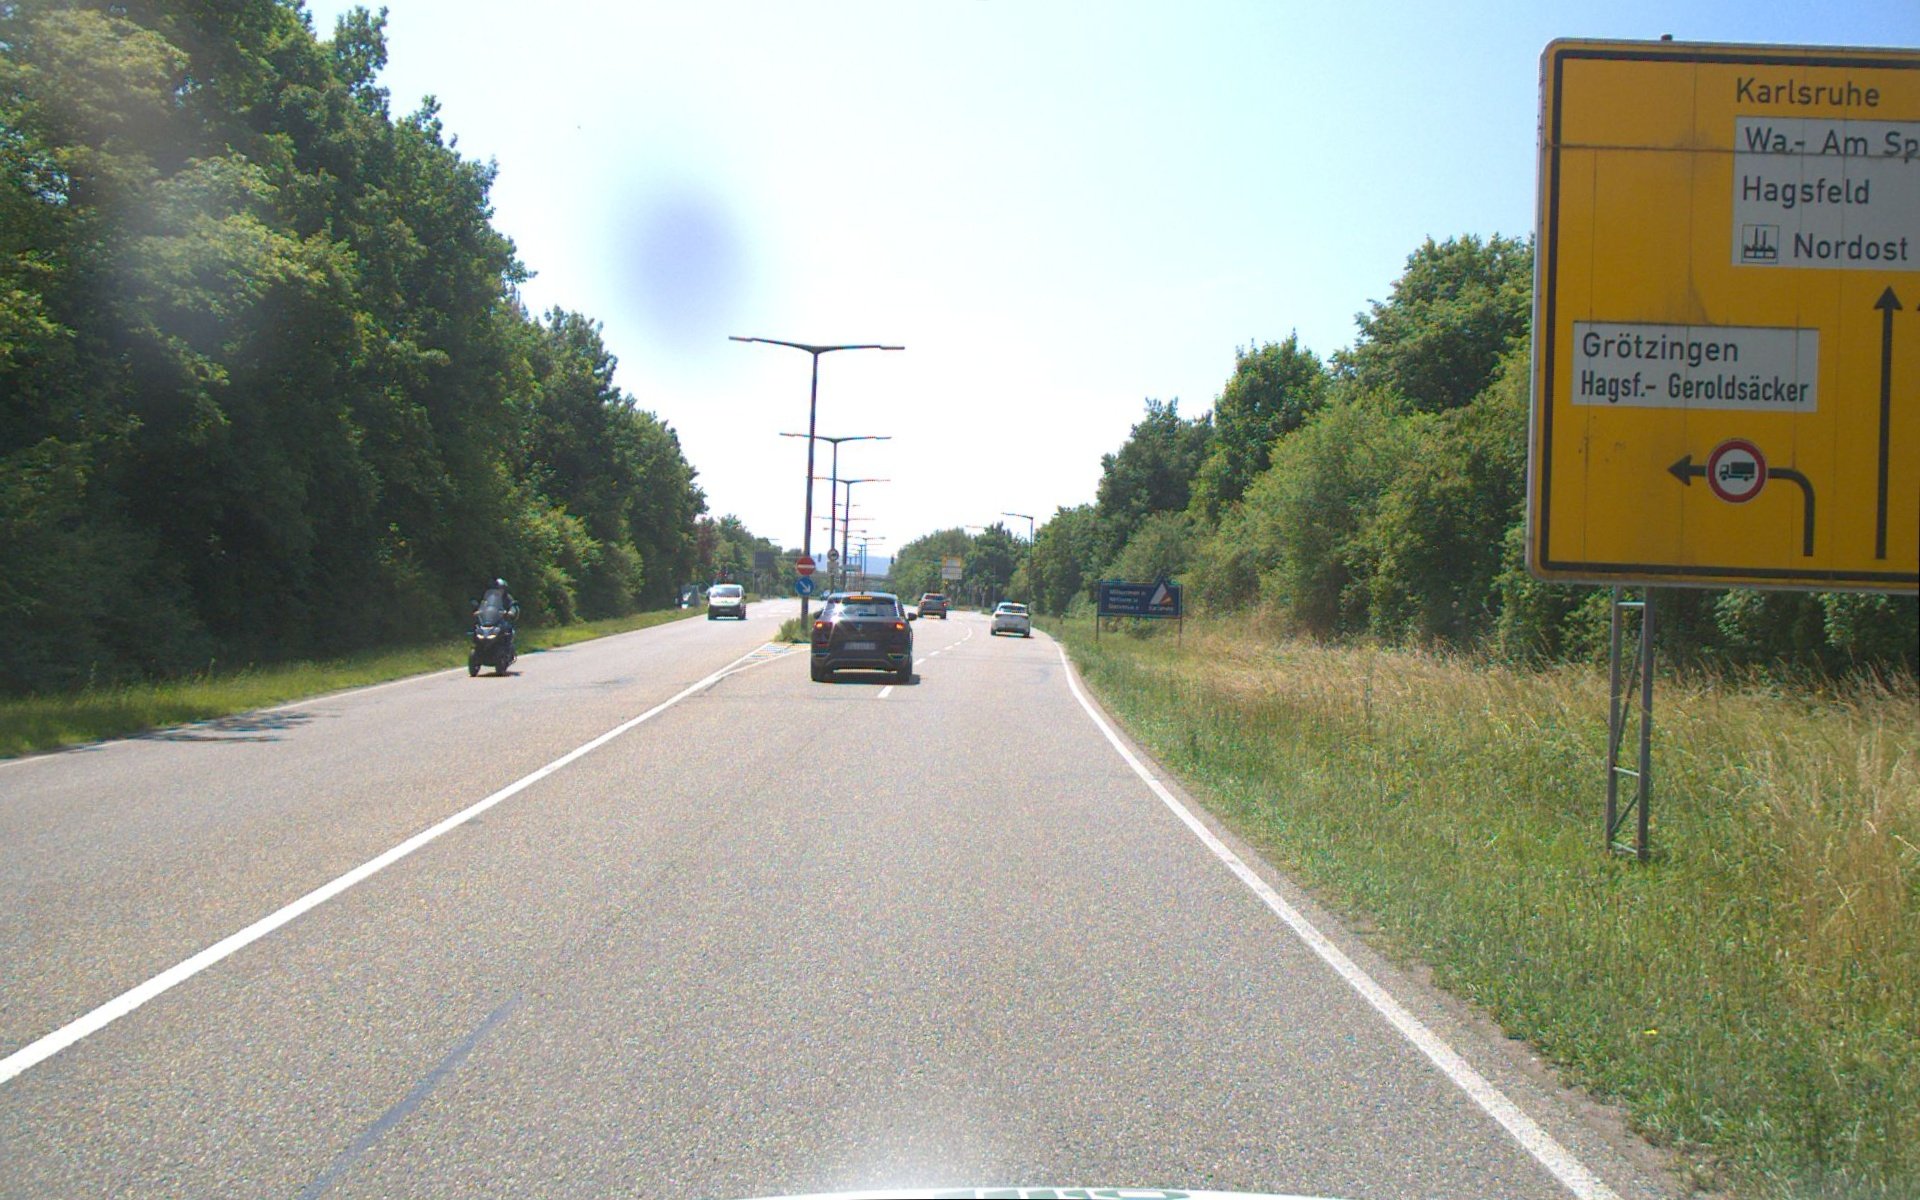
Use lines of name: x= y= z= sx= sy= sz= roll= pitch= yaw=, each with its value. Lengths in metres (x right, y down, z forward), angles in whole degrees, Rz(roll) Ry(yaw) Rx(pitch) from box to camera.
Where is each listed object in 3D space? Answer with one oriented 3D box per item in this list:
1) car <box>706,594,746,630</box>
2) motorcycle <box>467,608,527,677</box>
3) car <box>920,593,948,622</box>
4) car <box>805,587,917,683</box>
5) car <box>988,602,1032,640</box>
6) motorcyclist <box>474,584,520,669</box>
car: x=-11.632 y=0.581 z=82.381 sx=1.698 sy=1.717 sz=4.091 roll=0 pitch=0 yaw=-4
motorcycle: x=-8.380 y=0.752 z=30.016 sx=0.657 sy=1.195 sz=2.228 roll=1 pitch=0 yaw=-6
car: x=-1.852 y=0.526 z=116.170 sx=1.721 sy=1.962 sz=3.997 roll=3 pitch=0 yaw=-4
car: x=-1.868 y=0.597 z=30.177 sx=1.722 sy=1.583 sz=3.993 roll=2 pitch=0 yaw=-7
car: x=2.199 y=0.910 z=73.745 sx=1.761 sy=1.611 sz=3.999 roll=0 pitch=0 yaw=-2
motorcyclist: x=-8.369 y=0.470 z=29.899 sx=0.657 sy=1.501 sz=0.813 roll=1 pitch=0 yaw=-7
